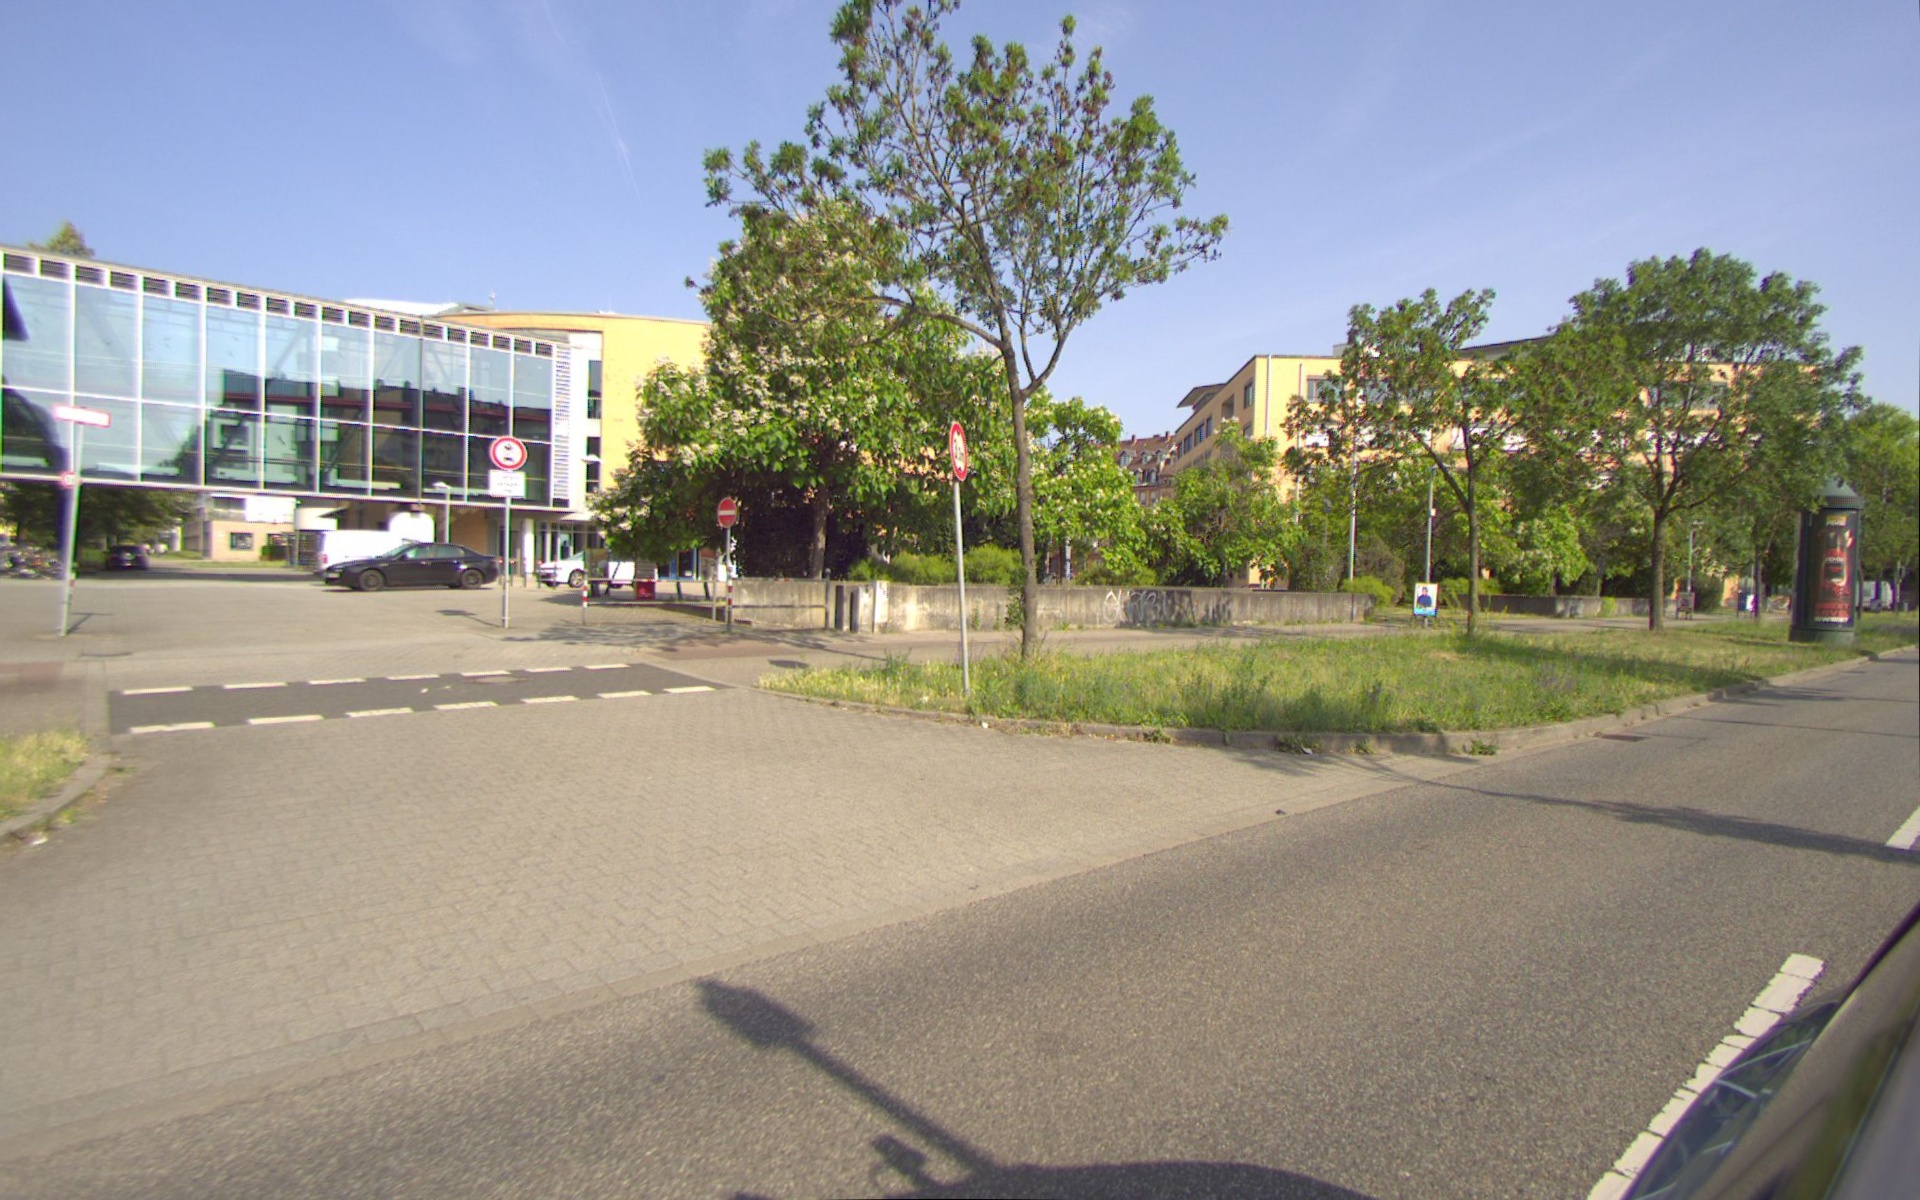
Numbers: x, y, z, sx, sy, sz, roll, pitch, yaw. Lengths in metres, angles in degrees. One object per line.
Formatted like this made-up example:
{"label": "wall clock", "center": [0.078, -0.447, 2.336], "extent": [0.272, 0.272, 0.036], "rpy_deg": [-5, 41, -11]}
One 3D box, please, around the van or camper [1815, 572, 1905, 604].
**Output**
{"label": "van or camper", "center": [79.687, -1.064, 89.693], "extent": [2.369, 2.727, 5.790], "rpy_deg": [-1, 1, -44]}

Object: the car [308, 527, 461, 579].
{"label": "car", "center": [-19.784, -1.566, 34.910], "extent": [4.343, 1.661, 1.770], "rpy_deg": [-1, 0, -41]}

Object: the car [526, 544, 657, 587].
{"label": "car", "center": [-13.560, -1.234, 37.436], "extent": [1.684, 1.503, 4.301], "rpy_deg": [-1, 0, 38]}

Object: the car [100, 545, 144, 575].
{"label": "car", "center": [-46.620, -2.204, 56.277], "extent": [1.818, 1.503, 4.154], "rpy_deg": [-1, 0, -40]}

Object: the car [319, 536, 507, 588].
{"label": "car", "center": [-15.947, -1.066, 29.638], "extent": [4.623, 1.417, 1.597], "rpy_deg": [-1, 0, -41]}

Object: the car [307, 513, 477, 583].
{"label": "car", "center": [-17.889, -1.580, 31.979], "extent": [4.383, 2.039, 1.997], "rpy_deg": [-1, 0, -41]}
